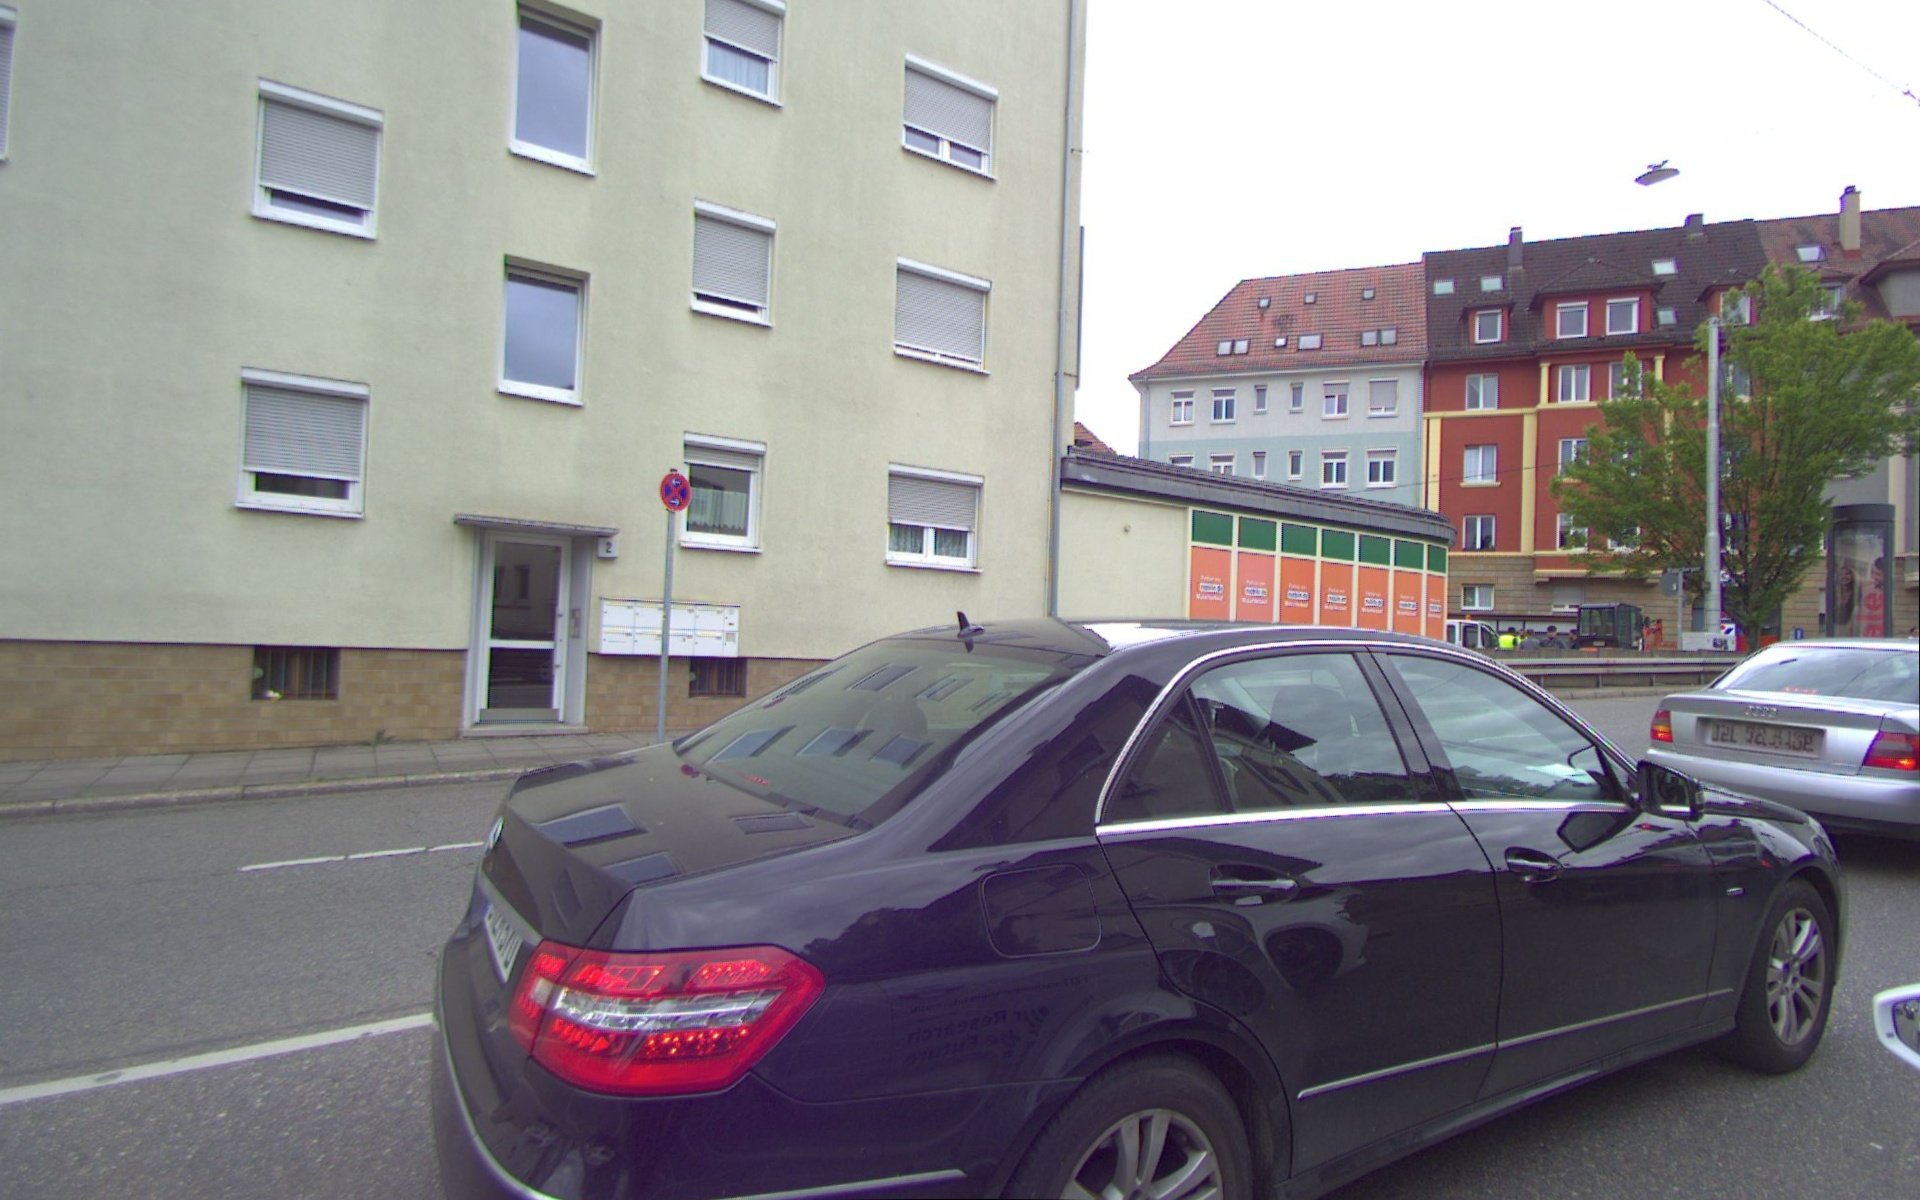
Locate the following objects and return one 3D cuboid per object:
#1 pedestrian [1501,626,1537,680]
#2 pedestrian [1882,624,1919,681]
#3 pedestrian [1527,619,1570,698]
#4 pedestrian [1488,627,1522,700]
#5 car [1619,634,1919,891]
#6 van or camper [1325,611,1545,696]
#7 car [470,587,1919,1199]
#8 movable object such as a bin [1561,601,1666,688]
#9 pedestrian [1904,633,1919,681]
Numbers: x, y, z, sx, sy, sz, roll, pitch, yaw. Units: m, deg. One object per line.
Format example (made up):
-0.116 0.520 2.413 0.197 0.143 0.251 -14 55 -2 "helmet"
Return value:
14.504 1.373 26.092 0.613 1.381 0.602 0 -1 4 "pedestrian"
26.804 1.475 28.414 0.724 1.567 0.794 0 -1 -3 "pedestrian"
12.620 1.235 21.534 0.680 1.658 0.775 -1 -2 40 "pedestrian"
15.477 1.783 28.525 0.812 2.040 0.679 0 0 30 "pedestrian"
6.715 0.943 7.083 4.073 1.383 1.623 1 -2 -26 "car"
14.534 1.567 31.030 5.894 2.369 2.686 0 -1 26 "van or camper"
1.074 0.771 3.395 4.785 1.447 1.984 1 -2 -30 "car"
16.552 1.103 25.393 3.510 2.040 1.363 2 -2 -42 "movable object such as a bin"
27.490 1.633 28.665 0.572 1.356 0.576 0 -1 5 "pedestrian"
